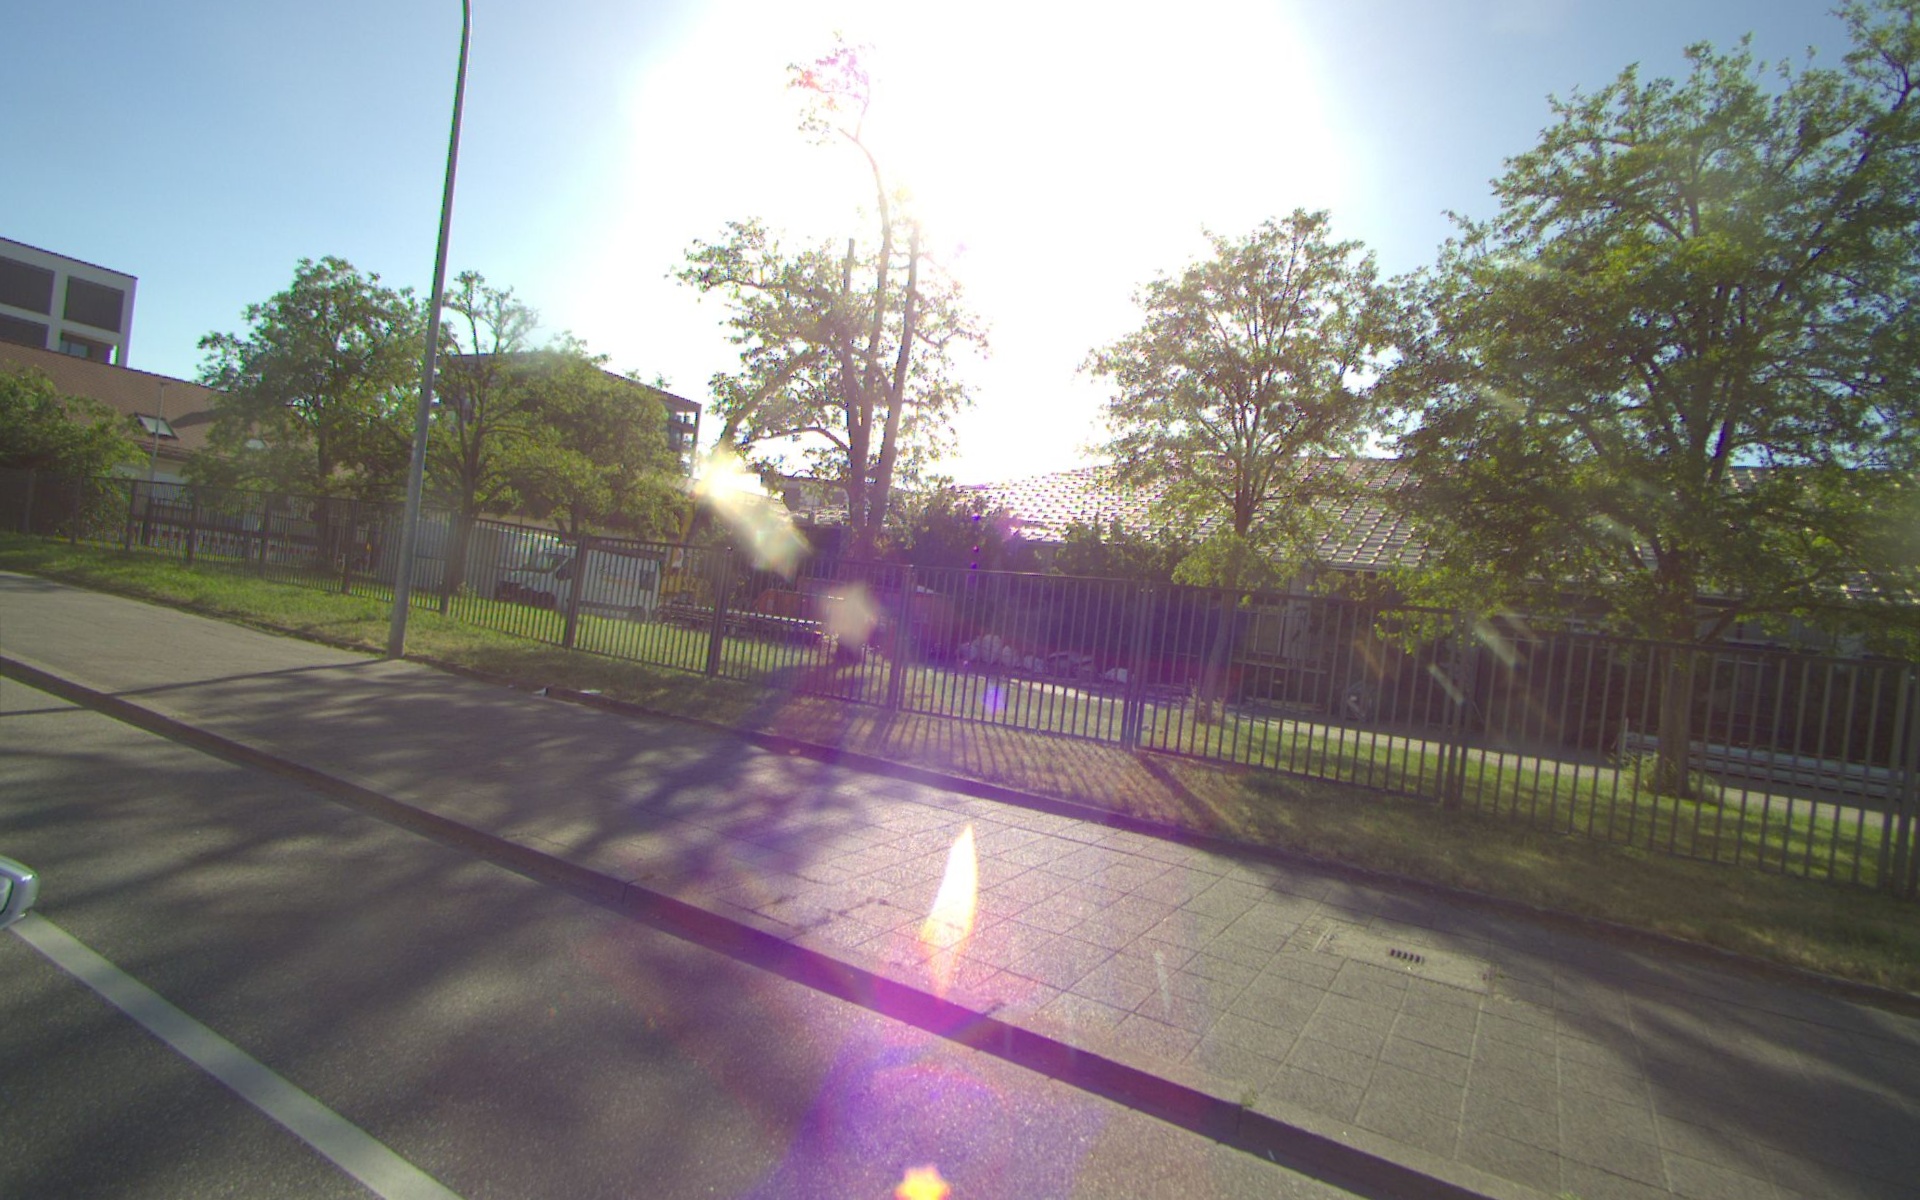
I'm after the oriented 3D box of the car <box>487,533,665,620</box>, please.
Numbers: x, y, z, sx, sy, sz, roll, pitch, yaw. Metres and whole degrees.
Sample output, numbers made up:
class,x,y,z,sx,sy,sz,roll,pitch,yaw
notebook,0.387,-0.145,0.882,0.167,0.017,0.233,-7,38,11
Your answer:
class,x,y,z,sx,sy,sz,roll,pitch,yaw
car,-13.034,-0.732,34.516,1.969,2.228,5.286,8,0,36

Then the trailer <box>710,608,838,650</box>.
class,x,y,z,sx,sy,sz,roll,pitch,yaw
trailer,-7.088,1.093,38.085,5.034,0.930,1.897,6,-1,39

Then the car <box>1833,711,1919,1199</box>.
class,x,y,z,sx,sy,sz,roll,pitch,yaw
car,3.617,1.204,0.686,4.189,1.606,1.818,7,-2,29
